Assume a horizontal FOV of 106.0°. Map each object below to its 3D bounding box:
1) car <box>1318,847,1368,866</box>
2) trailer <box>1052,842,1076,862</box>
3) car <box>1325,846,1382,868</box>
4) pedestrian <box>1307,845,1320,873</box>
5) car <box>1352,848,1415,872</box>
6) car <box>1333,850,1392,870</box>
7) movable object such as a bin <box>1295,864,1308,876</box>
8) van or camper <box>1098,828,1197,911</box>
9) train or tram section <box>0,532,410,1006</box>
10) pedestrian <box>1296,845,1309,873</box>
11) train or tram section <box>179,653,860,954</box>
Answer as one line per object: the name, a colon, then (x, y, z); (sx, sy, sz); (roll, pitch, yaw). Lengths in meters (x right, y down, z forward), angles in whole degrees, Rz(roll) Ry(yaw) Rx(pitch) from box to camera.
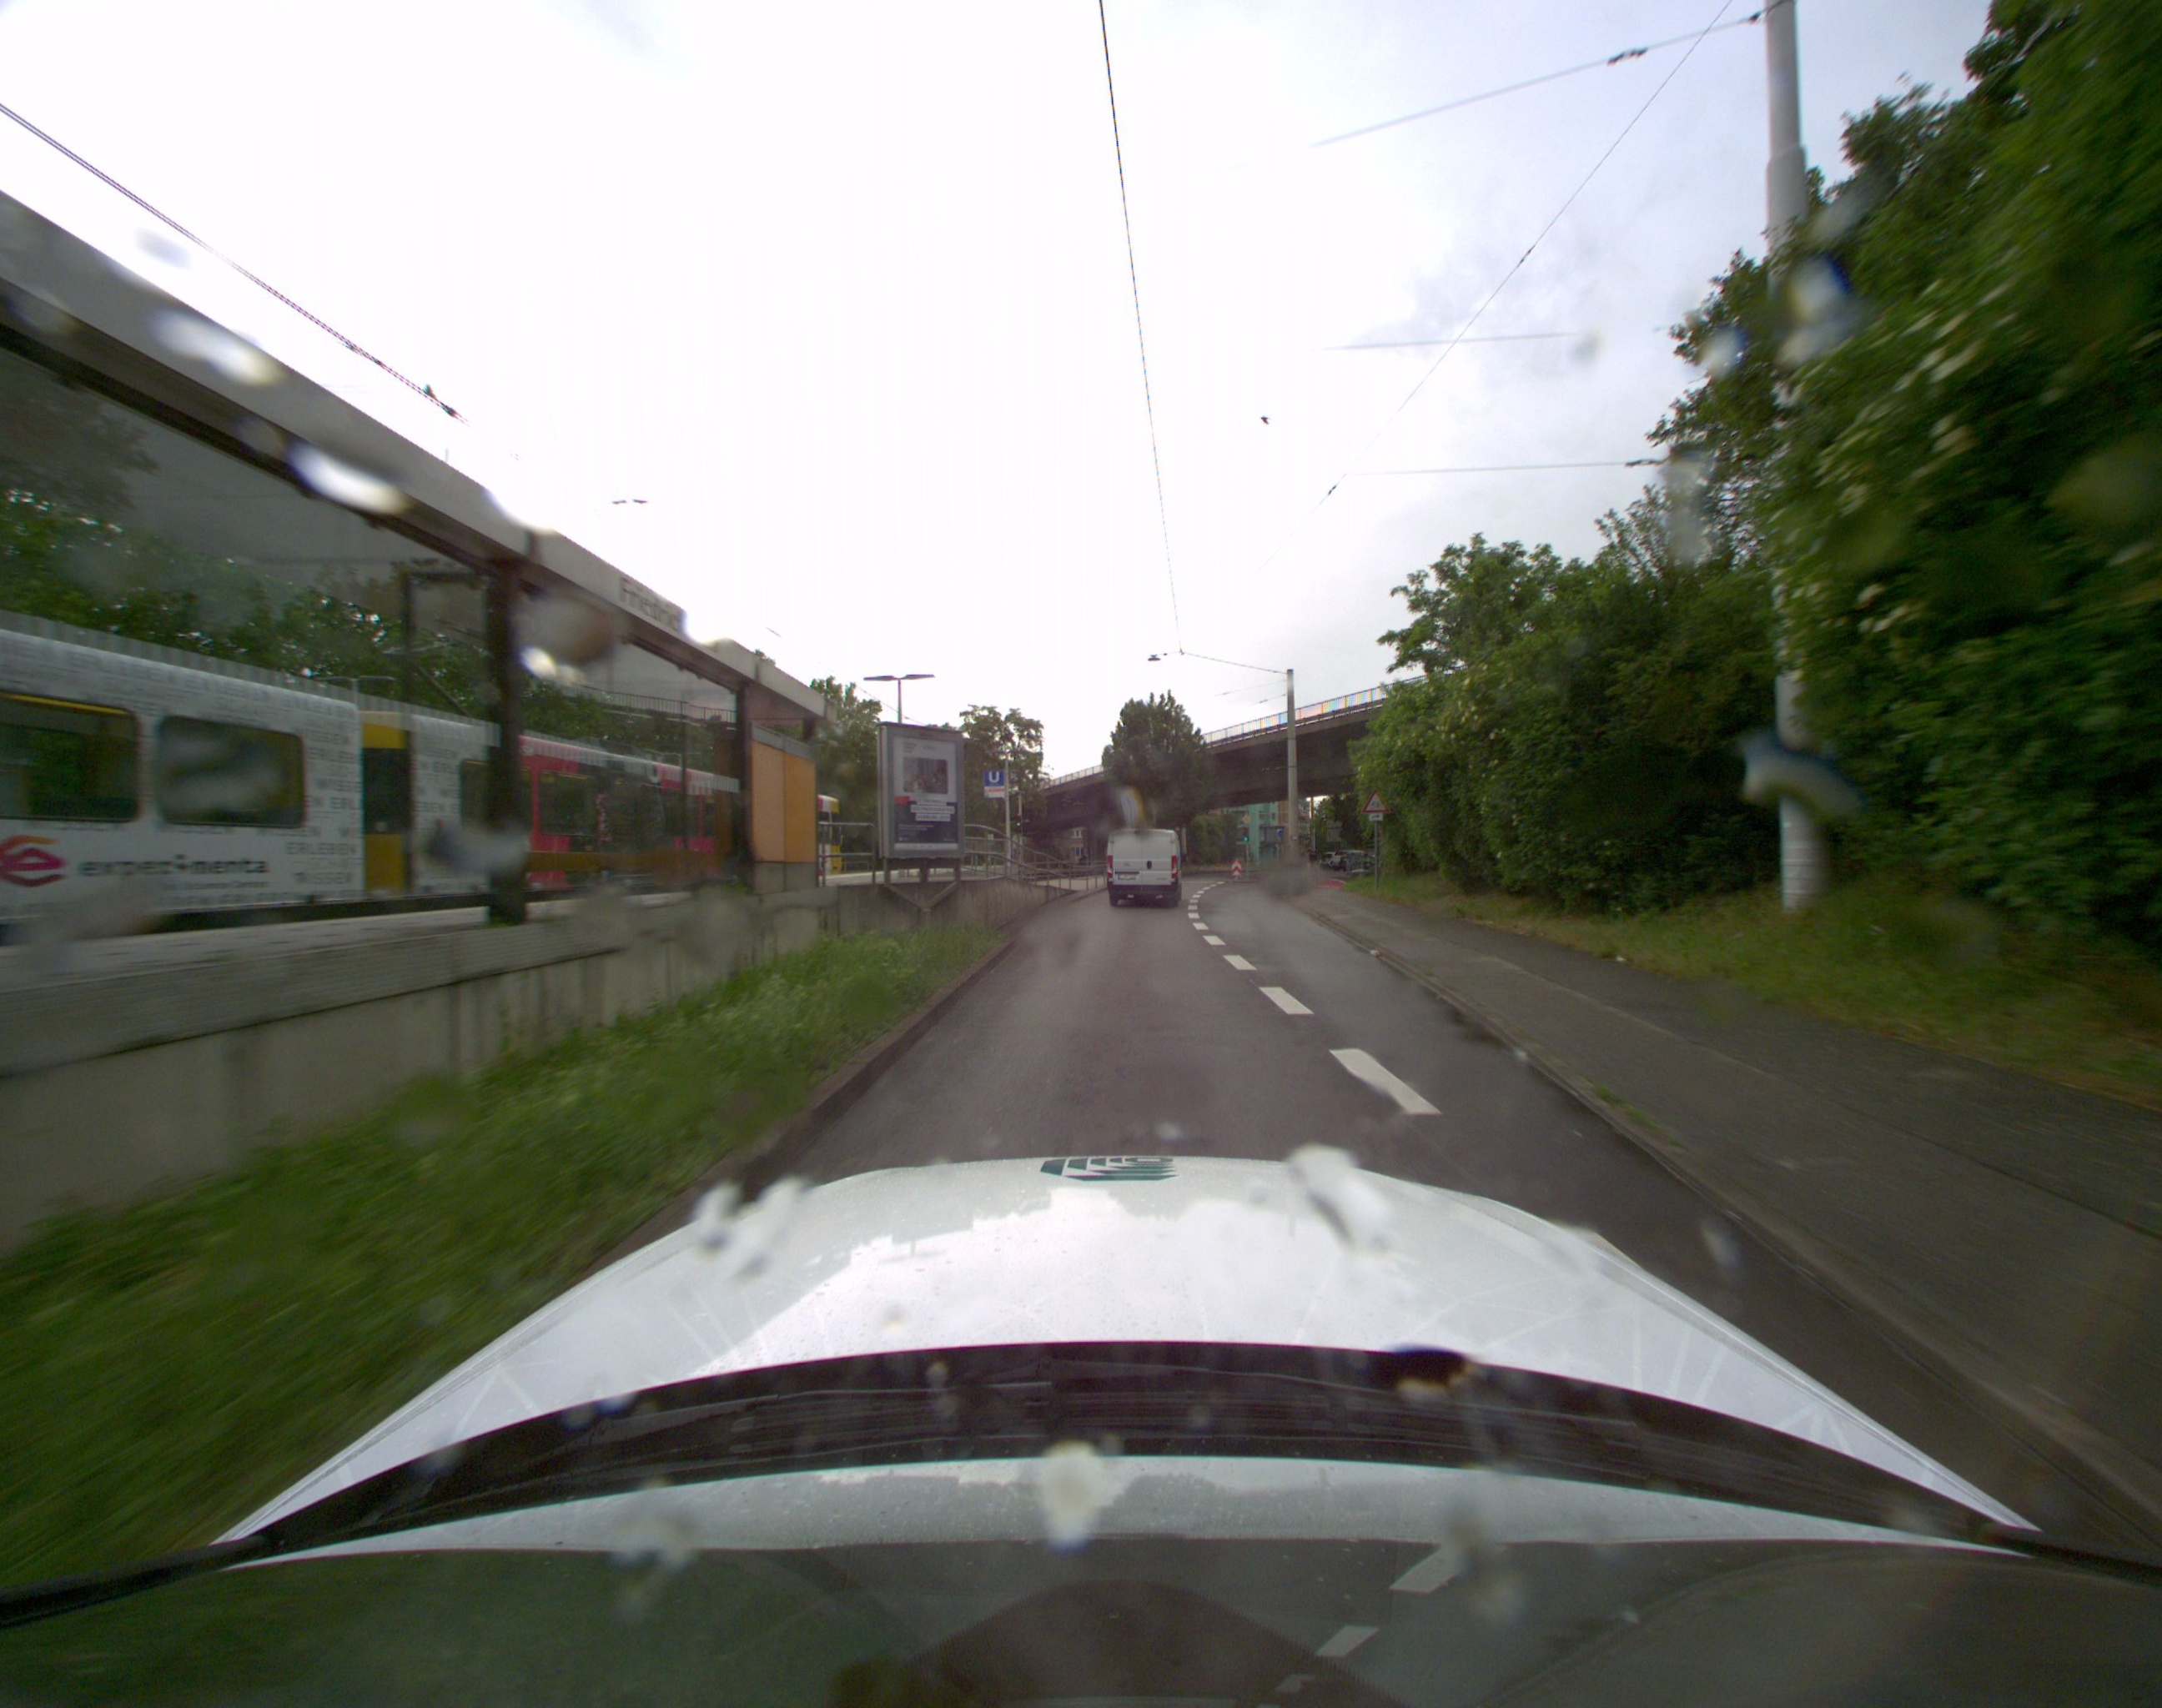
car: (21.132, 0.230, 65.701); (3.744, 1.522, 1.787); (0, -1, -27)
trailer: (-2.396, -0.272, 112.440); (2.002, 2.725, 4.092); (1, -1, -23)
car: (21.097, 0.253, 63.134); (4.032, 1.631, 1.950); (0, -1, -27)
pedestrian: (15.355, 0.343, 53.757); (0.595, 1.822, 0.909); (1, -1, 0)
car: (21.430, 0.405, 57.754); (4.005, 1.572, 1.890); (2, -1, -25)
car: (20.820, 0.427, 60.200); (4.059, 1.439, 1.771); (0, 0, -27)
movable object such as a bin: (40.585, 2.886, 149.874); (2.114, 2.157, 1.813); (1, 1, 26)
van or camper: (2.175, 0.456, 25.072); (2.183, 2.253, 4.702); (1, -1, 15)
train or tram section: (-10.507, -0.807, 1.191); (2.858, 3.971, 19.327); (1, -1, 0)
pedestrian: (14.621, 0.348, 53.788); (0.622, 1.808, 0.837); (1, -1, 5)
train or tram section: (-10.117, -0.562, 20.522); (2.856, 3.961, 19.342); (1, -1, 3)
